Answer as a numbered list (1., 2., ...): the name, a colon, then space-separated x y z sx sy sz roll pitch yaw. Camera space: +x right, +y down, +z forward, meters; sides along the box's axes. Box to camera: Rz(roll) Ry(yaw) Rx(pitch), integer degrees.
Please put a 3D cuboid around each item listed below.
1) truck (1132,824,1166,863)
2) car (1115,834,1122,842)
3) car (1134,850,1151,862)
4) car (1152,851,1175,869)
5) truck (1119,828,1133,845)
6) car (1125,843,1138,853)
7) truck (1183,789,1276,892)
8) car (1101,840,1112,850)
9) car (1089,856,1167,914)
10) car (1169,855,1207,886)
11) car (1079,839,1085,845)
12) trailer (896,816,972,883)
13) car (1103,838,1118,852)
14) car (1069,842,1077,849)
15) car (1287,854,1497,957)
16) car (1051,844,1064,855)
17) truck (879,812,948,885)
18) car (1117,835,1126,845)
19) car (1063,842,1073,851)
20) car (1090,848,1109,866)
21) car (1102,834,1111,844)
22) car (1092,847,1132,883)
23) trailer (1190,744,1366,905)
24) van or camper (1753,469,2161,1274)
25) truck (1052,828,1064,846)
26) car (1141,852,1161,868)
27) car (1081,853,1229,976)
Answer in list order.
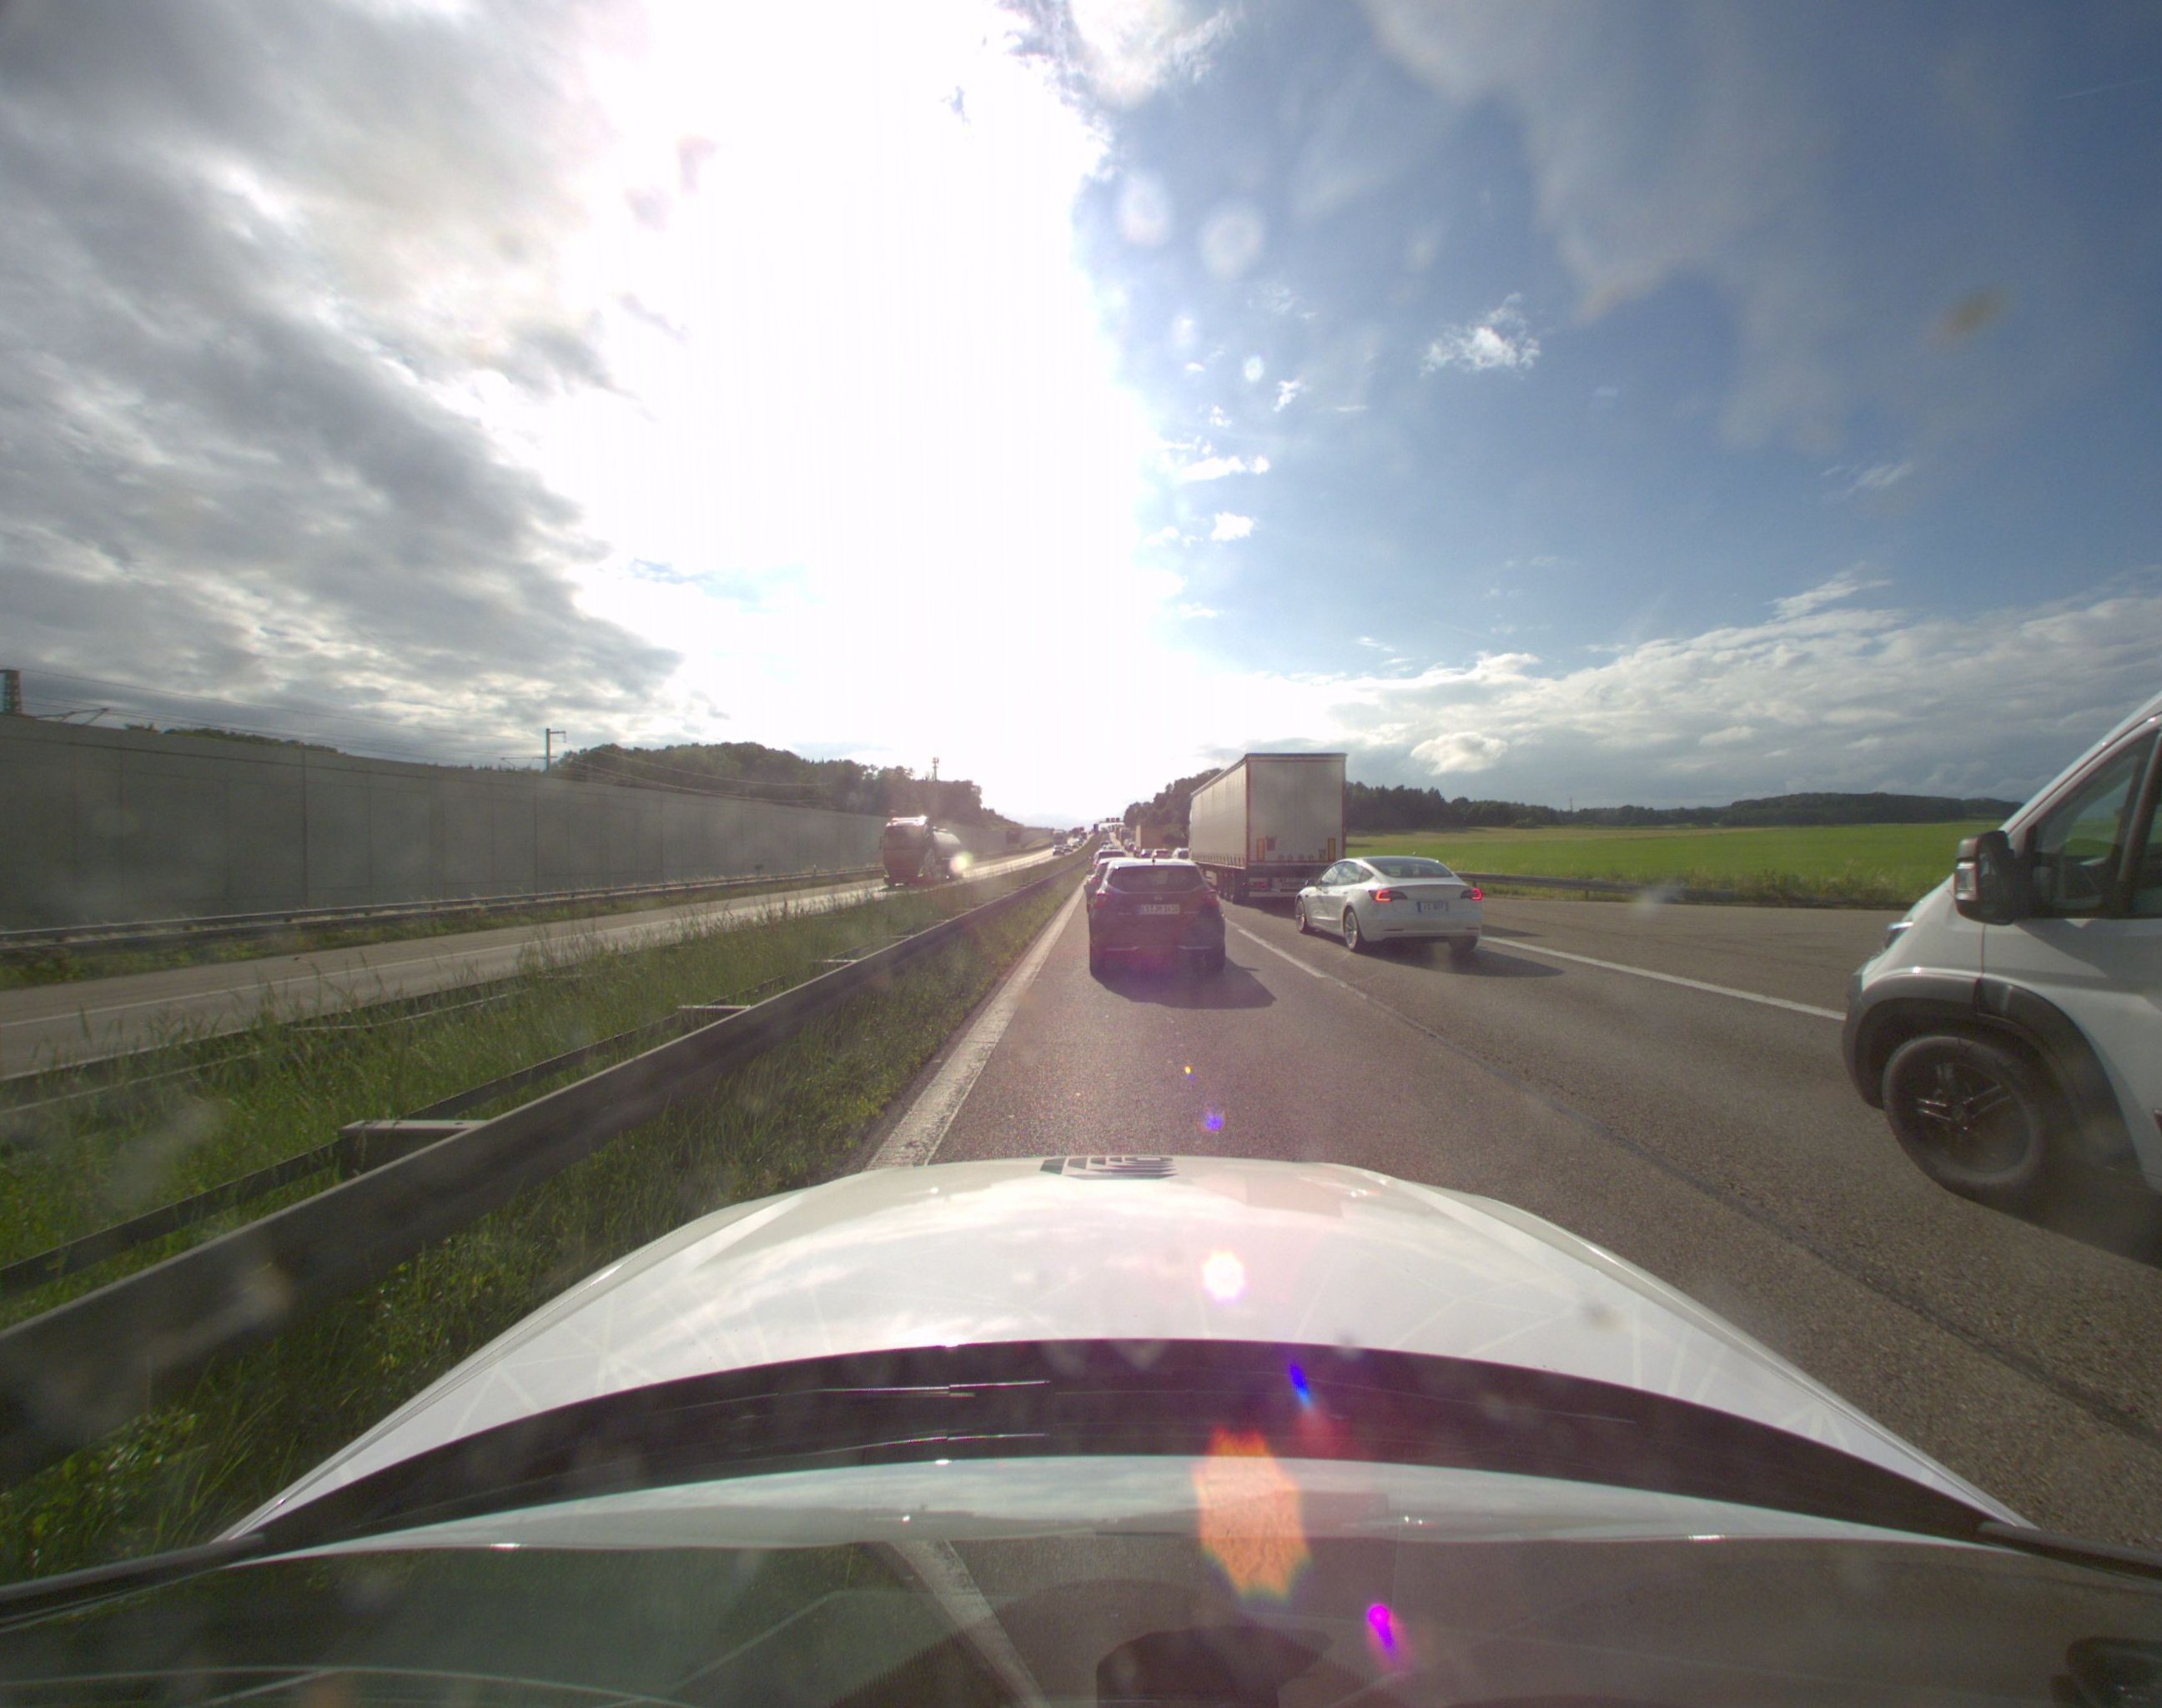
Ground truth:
1. truck: 8.267 -1.152 100.673 3.286 4.577 12.440 0 -1 1
2. car: 11.739 -5.008 255.295 1.866 2.158 5.214 -1 3 2
3. car: 8.427 0.237 111.860 1.867 1.644 4.231 -1 0 0
4. car: 7.826 0.595 77.806 1.866 1.644 4.234 -1 0 2
5. truck: 12.434 -4.948 225.871 3.452 4.576 12.442 0 1 1
6. car: 8.927 -1.029 143.092 1.868 1.644 4.230 -1 1 -1
7. truck: 6.116 -0.489 34.398 3.121 4.016 5.166 -1 -1 2
8. car: 4.464 -1.560 141.834 1.867 1.644 4.233 -1 1 1
9. car: 1.225 0.767 22.044 1.866 1.358 4.234 -1 0 2
10. car: 5.817 0.868 44.585 1.690 1.610 4.440 -1 0 3
11. car: 0.316 -3.567 236.596 1.702 1.706 4.174 -1 0 1
12. trailer: -9.493 -0.237 53.948 2.579 3.902 10.867 -2 0 1
13. car: 3.600 -1.129 99.408 1.866 1.644 4.235 -1 1 2
14. car: -1.802 -2.024 186.121 1.762 1.479 3.831 -1 -1 2
15. car: 4.873 0.716 13.513 1.783 1.394 4.436 -1 0 0
16. car: -3.870 -0.741 134.425 1.774 1.737 4.104 -1 0 2
17. truck: -9.695 -0.274 47.807 2.573 3.923 5.724 -2 0 2
18. car: 9.939 -3.442 200.192 1.866 2.158 5.214 -1 3 2
19. car: -2.566 -1.423 157.489 1.691 1.499 4.428 -1 0 1
20. car: 1.899 0.272 81.641 1.866 1.644 4.234 -1 1 2
21. car: 5.780 -3.375 185.640 1.866 2.158 5.214 -1 3 2
22. car: 1.525 0.523 40.094 1.866 1.644 4.234 -1 0 2
23. trailer: 5.806 -0.616 27.039 3.118 4.011 13.373 -1 -1 2
24. van or camper: 4.667 0.038 1.185 2.207 2.681 6.334 -1 0 1
25. truck: -5.345 -3.988 193.294 2.371 4.181 5.934 -2 0 2
26. car: 7.439 0.653 87.288 1.866 1.644 4.234 -1 0 2
27. car: 0.972 0.749 11.991 1.766 1.451 4.234 -1 0 2
